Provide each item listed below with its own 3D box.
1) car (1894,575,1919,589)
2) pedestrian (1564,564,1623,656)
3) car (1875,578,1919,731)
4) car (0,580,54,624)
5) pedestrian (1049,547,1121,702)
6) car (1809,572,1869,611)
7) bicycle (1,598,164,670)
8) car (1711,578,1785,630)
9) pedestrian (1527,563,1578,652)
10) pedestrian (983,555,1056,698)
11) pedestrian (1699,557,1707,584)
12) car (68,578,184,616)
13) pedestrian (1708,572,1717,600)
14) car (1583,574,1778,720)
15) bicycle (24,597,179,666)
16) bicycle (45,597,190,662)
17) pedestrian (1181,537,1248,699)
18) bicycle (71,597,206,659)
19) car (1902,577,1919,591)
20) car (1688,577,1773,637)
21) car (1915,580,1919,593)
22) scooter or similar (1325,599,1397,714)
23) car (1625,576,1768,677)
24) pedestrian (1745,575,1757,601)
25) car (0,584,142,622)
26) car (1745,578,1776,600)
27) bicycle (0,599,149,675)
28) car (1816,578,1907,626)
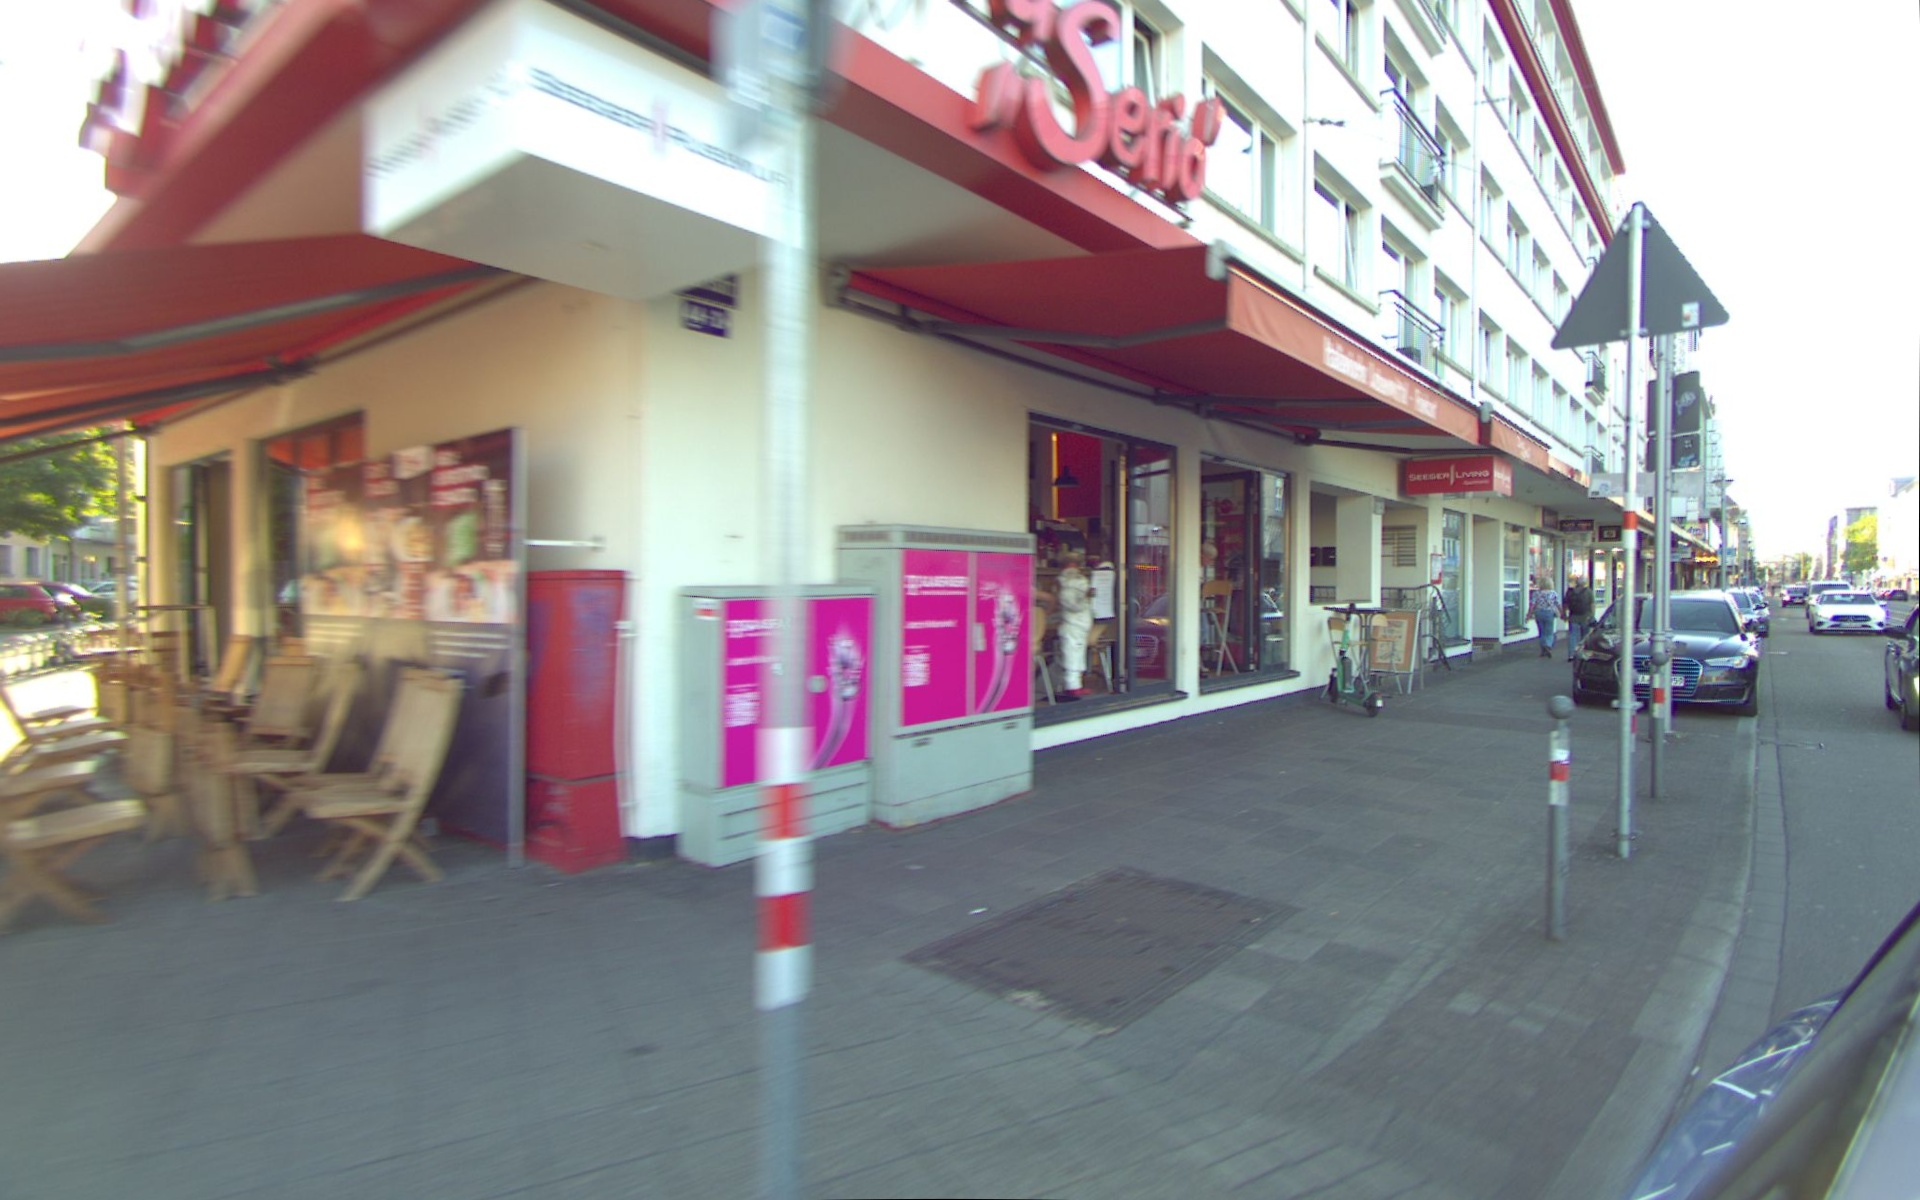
[{"bbox_3d":[111.423,-2.133,119.085,1.990,1.571,3.944,1,1,39],"label":"car"},{"bbox_3d":[12.376,0.179,19.771,0.826,1.739,0.831,2,2,40],"label":"pedestrian"},{"bbox_3d":[11.608,0.512,11.299,1.724,1.541,4.274,-1,0,38],"label":"car"},{"bbox_3d":[-32.935,0.073,33.503,1.979,1.449,3.965,0,1,25],"label":"car"},{"bbox_3d":[1.158,0.211,9.364,0.518,1.376,0.500,0,1,29],"label":"pedestrian"},{"bbox_3d":[43.625,-0.460,50.286,1.989,1.838,3.946,1,1,38],"label":"car"},{"bbox_3d":[-15.628,0.595,18.098,2.070,1.235,0.705,1,0,-28],"label":"bicycle"},{"bbox_3d":[25.868,0.067,33.270,1.786,1.530,4.648,3,2,38],"label":"car"},{"bbox_3d":[12.101,0.139,20.661,0.727,1.762,0.851,2,2,40],"label":"pedestrian"},{"bbox_3d":[0.534,0.222,9.022,0.517,1.232,0.501,0,1,23],"label":"pedestrian"},{"bbox_3d":[51.911,-2.066,70.706,0.450,1.922,0.415,1,1,39],"label":"pedestrian"},{"bbox_3d":[-39.795,-0.170,48.374,1.988,1.731,3.949,0,1,36],"label":"car"},{"bbox_3d":[51.813,-0.959,69.703,0.454,1.922,0.415,1,1,39],"label":"pedestrian"},{"bbox_3d":[9.543,0.455,13.244,1.733,1.530,4.619,3,3,39],"label":"car"},{"bbox_3d":[-15.940,0.577,18.862,2.070,1.235,0.705,1,0,-28],"label":"bicycle"},{"bbox_3d":[-16.539,0.572,19.933,2.070,1.235,0.705,1,0,-28],"label":"bicycle"},{"bbox_3d":[2.868,0.197,11.426,0.592,1.782,0.527,0,1,-5],"label":"pedestrian"},{"bbox_3d":[-17.059,0.577,21.077,2.070,1.235,0.705,1,0,-28],"label":"bicycle"},{"bbox_3d":[106.604,-1.770,112.882,1.990,1.571,3.944,1,1,39],"label":"car"},{"bbox_3d":[21.941,0.146,28.772,1.733,1.530,4.242,3,3,39],"label":"car"},{"bbox_3d":[117.702,-1.643,123.067,1.990,1.571,3.944,1,1,39],"label":"car"},{"bbox_3d":[4.532,0.605,11.491,0.350,1.217,1.249,0,1,1],"label":"scooter or similar"},{"bbox_3d":[13.125,0.368,17.949,1.783,1.530,3.994,3,3,39],"label":"car"},{"bbox_3d":[53.452,-0.843,68.415,0.603,1.749,0.637,1,1,39],"label":"pedestrian"},{"bbox_3d":[-34.857,0.078,39.747,1.991,1.404,3.943,1,1,39],"label":"car"},{"bbox_3d":[60.061,-0.827,75.918,1.676,1.561,3.830,3,2,40],"label":"car"},{"bbox_3d":[-15.260,0.619,17.291,2.070,1.235,0.705,1,0,-28],"label":"bicycle"},{"bbox_3d":[29.566,0.007,33.299,1.990,1.476,3.944,1,2,39],"label":"car"}]
